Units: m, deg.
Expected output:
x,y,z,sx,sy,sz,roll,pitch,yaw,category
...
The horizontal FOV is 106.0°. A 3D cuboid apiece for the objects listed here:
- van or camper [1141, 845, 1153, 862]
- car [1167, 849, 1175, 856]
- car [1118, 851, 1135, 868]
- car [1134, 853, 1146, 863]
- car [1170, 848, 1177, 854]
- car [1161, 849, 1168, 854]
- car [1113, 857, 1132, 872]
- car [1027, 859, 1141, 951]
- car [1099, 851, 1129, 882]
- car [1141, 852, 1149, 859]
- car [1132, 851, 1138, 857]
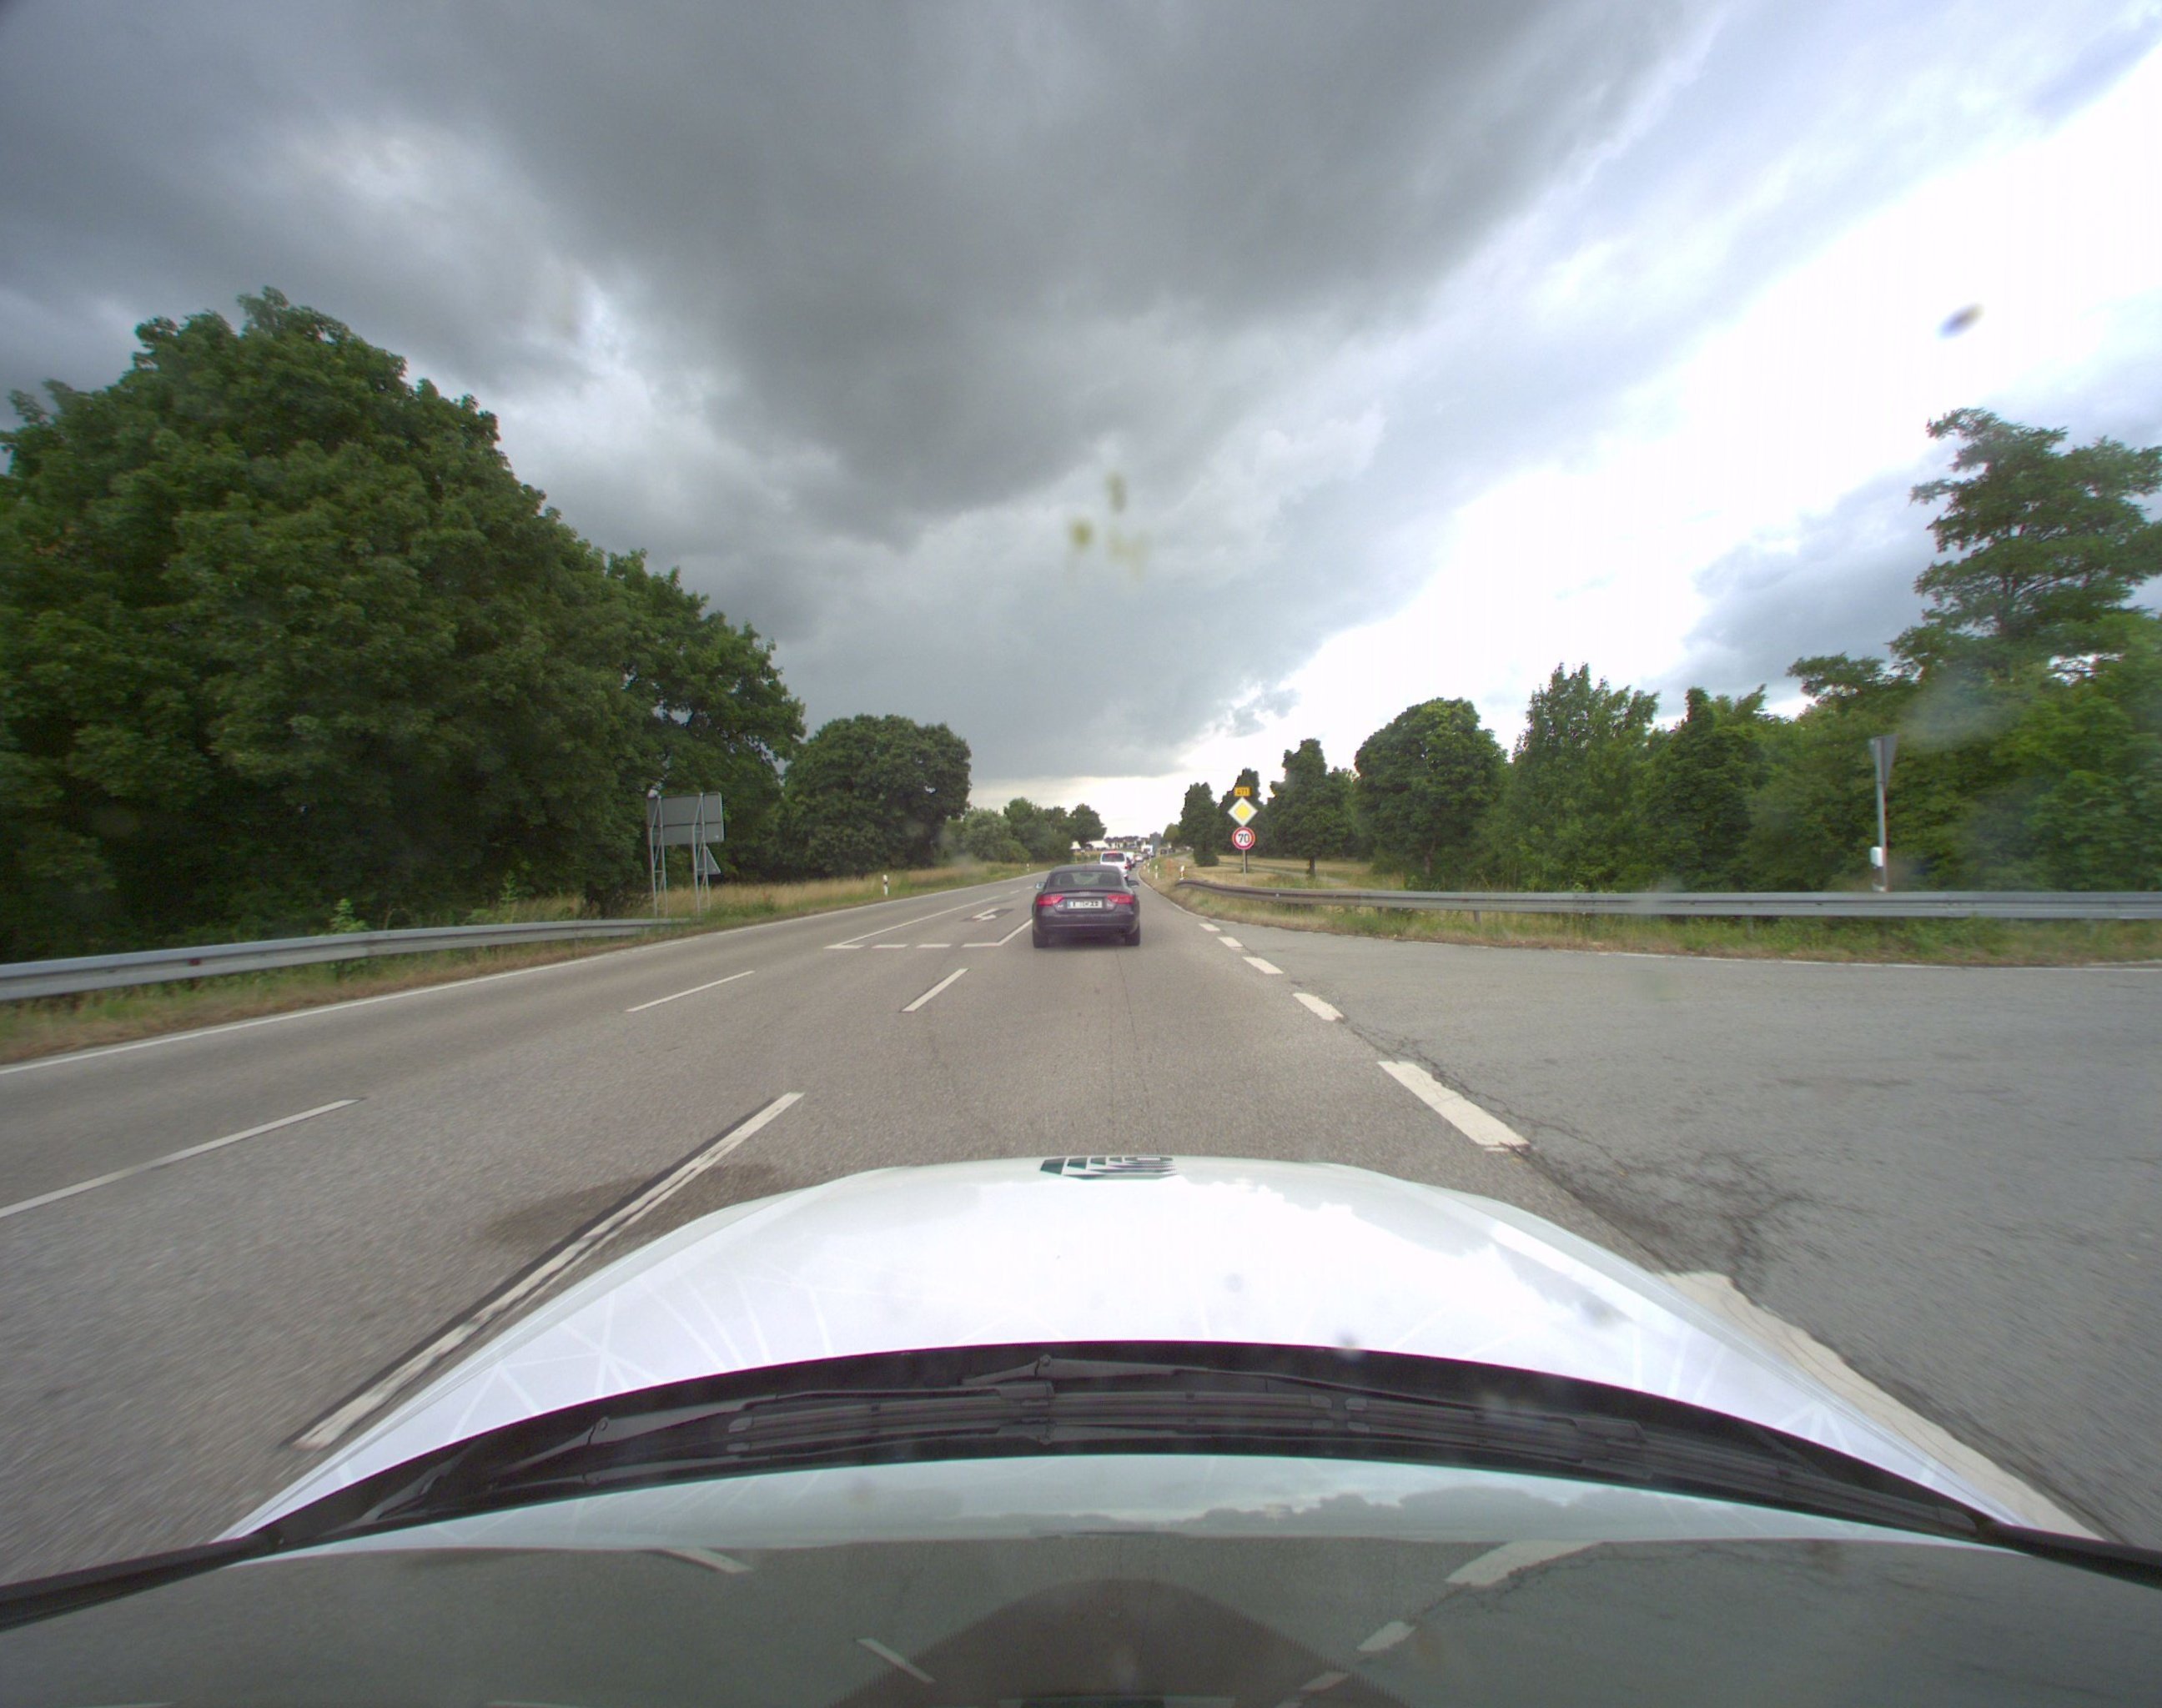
x,y,z,sx,sy,sz,roll,pitch,yaw,category
14.007,-0.075,172.424,2.329,3.481,5.726,-1,0,5,van or camper
26.384,-0.524,239.822,1.986,2.013,4.001,-1,0,1,car
5.740,0.659,101.731,1.984,2.088,4.005,-2,0,4,car
9.924,0.642,137.032,1.726,1.514,3.755,-2,0,8,car
25.803,-0.947,227.430,1.814,1.596,4.003,-1,0,3,car
22.063,-0.648,215.377,1.712,1.451,4.003,-1,0,3,car
4.424,1.103,86.265,1.787,1.464,3.253,-1,0,5,car
0.110,0.816,14.847,1.776,1.376,4.002,-1,0,2,car
2.076,0.746,51.866,1.832,1.882,4.002,-1,0,2,car
12.018,0.317,153.196,1.251,1.353,3.473,-2,0,8,car
15.140,-0.015,228.289,1.589,1.802,3.203,-1,0,2,car
